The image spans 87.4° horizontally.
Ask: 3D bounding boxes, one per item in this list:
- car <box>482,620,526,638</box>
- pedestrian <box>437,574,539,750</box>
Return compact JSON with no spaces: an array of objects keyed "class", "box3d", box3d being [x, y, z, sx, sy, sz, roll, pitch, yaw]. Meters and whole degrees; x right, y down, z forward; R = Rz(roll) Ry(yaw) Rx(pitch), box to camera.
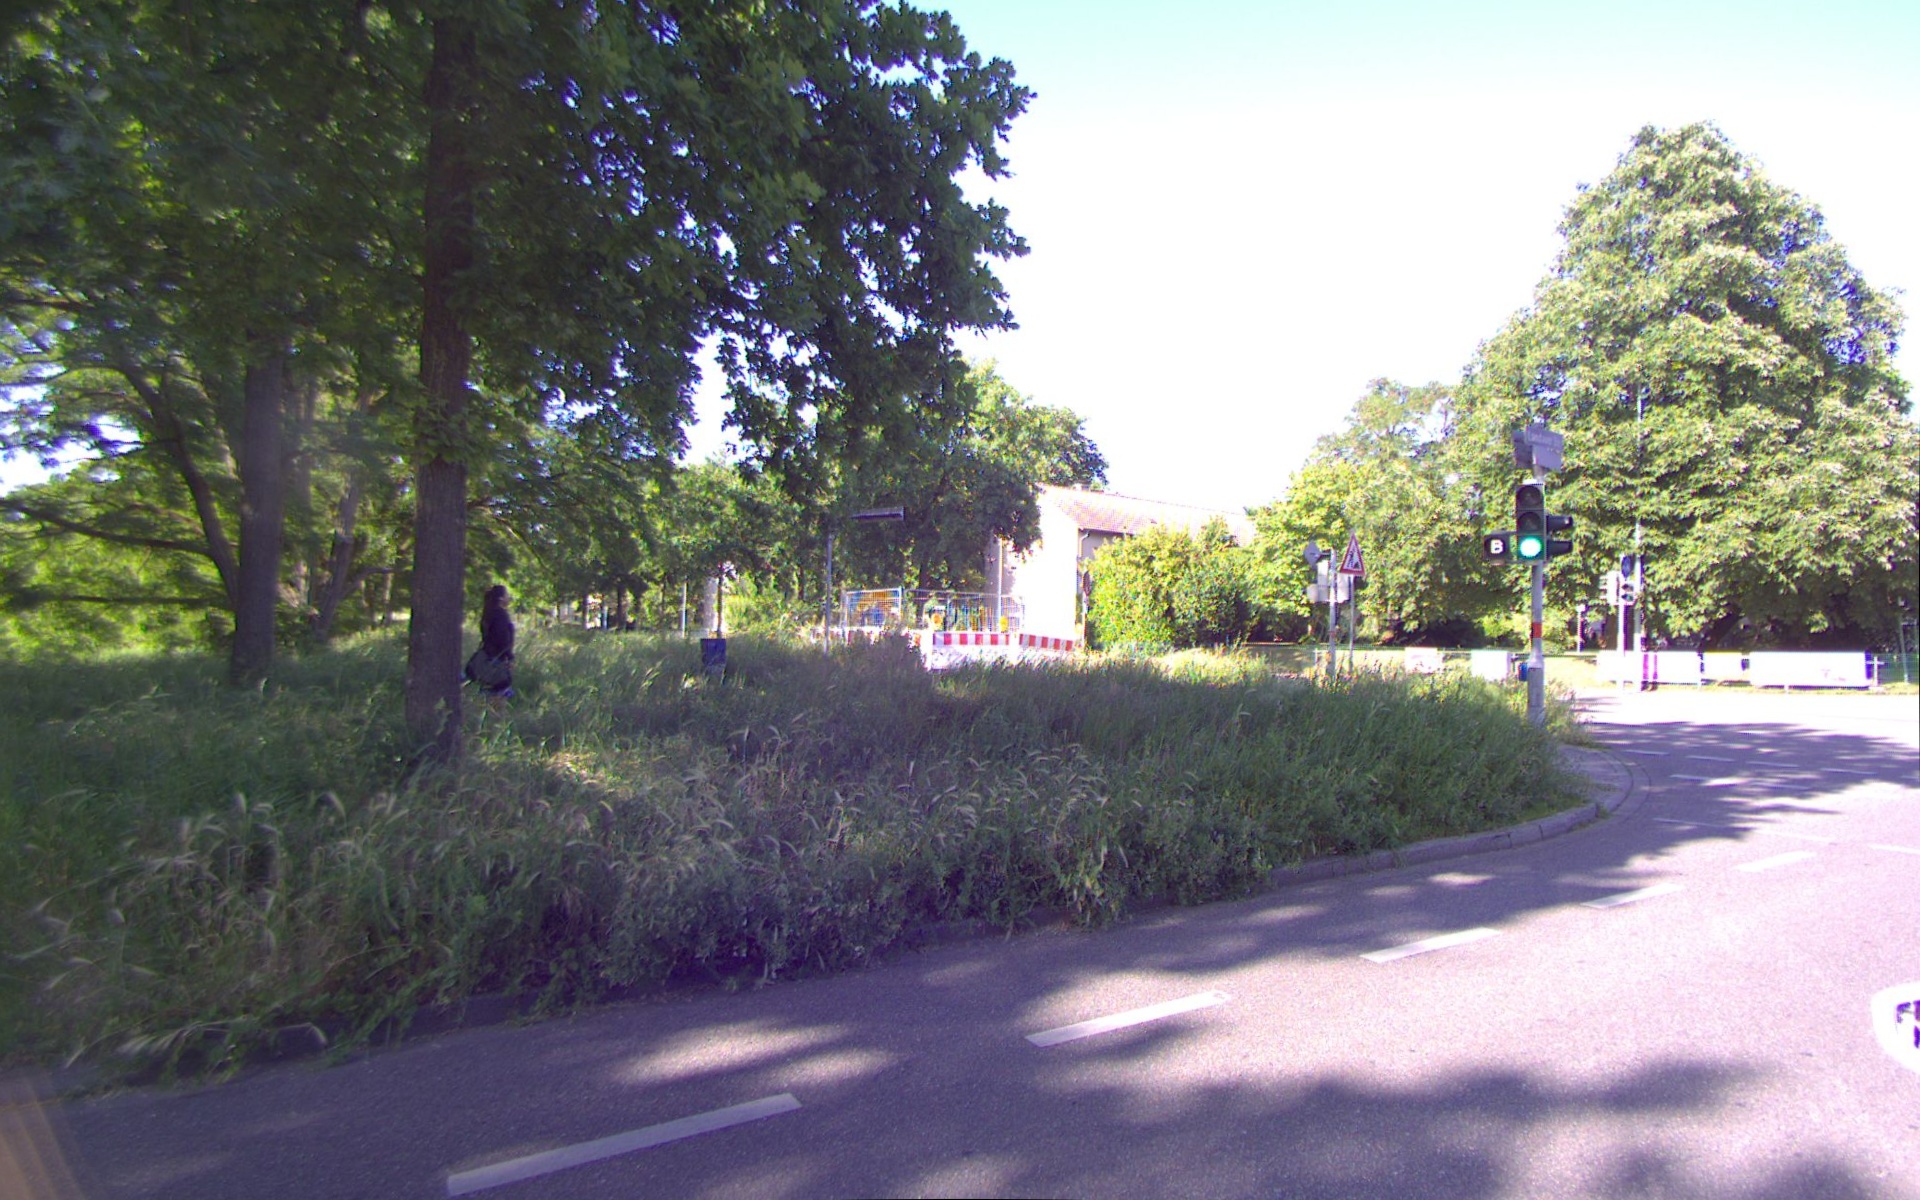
[{"class":"car","box3d":[-47.391,3.006,104.485,3.939,1.673,1.991,2,0,-20]},{"class":"pedestrian","box3d":[-4.893,0.612,10.390,0.880,1.710,0.909,1,0,-29]}]
